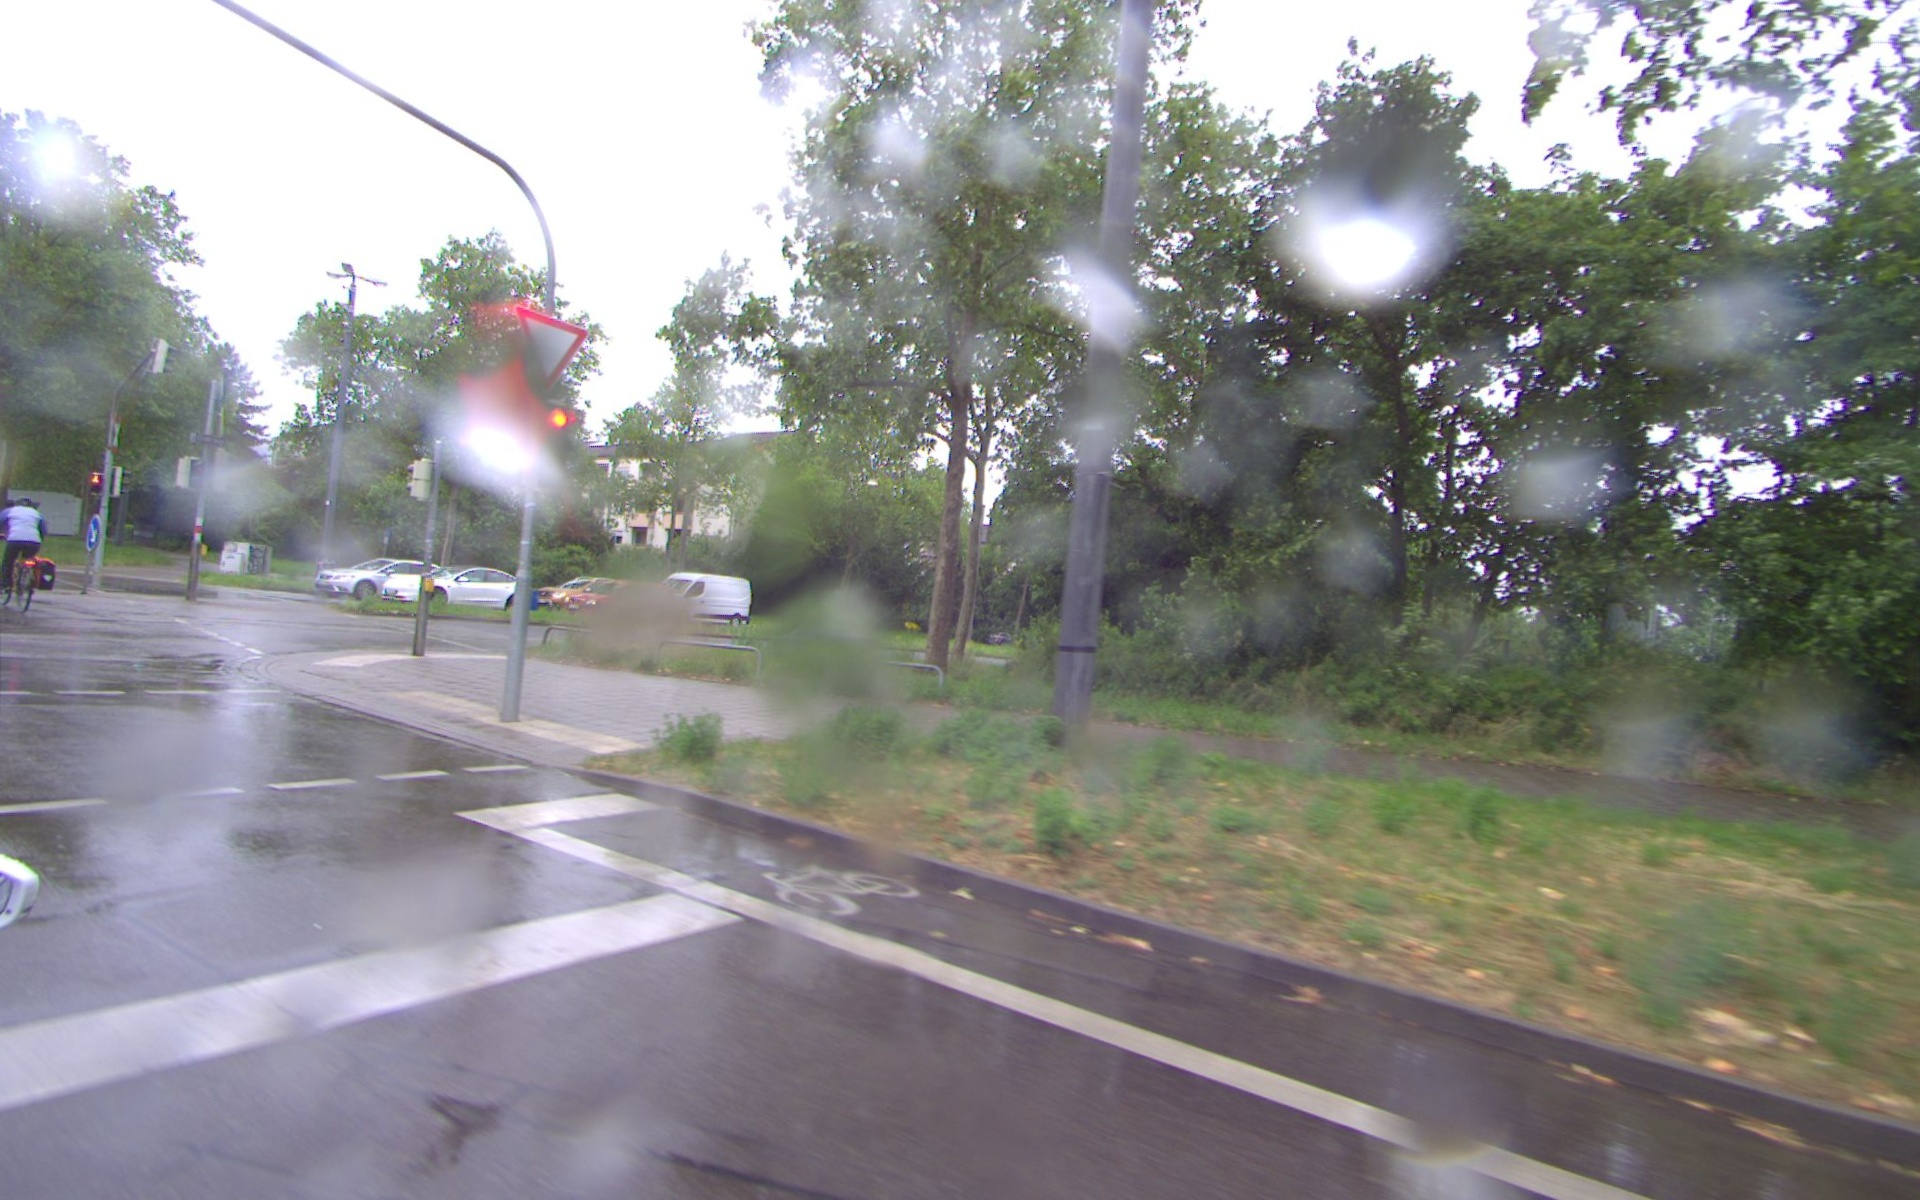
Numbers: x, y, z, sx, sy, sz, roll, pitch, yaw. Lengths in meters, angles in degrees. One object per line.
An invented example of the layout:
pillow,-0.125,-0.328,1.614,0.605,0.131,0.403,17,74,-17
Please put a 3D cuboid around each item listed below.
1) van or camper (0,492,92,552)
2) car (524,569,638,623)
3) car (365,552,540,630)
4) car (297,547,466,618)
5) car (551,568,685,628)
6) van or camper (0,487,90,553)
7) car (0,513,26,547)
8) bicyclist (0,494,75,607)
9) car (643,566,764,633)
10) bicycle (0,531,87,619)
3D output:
van or camper,-62.179,-5.338,66.020,7.389,3.214,3.231,9,-3,-37
car,-15.173,-0.116,40.497,1.759,1.625,4.070,6,-3,25
car,-15.938,-0.232,31.881,1.900,1.849,4.609,6,-3,25
car,-18.991,-0.526,33.241,1.900,1.710,4.408,6,-3,25
car,-12.670,-0.039,37.561,1.760,1.625,4.616,6,-3,29
van or camper,-56.084,-4.914,59.016,7.297,3.214,3.226,9,-3,-41
car,-54.889,-4.168,55.656,4.424,1.736,1.980,9,-3,-38
bicyclist,-13.608,-0.720,14.662,0.830,1.523,0.692,5,-2,29
car,-11.799,0.057,46.806,1.965,2.419,5.620,6,-3,28
bicycle,-13.642,-0.392,14.659,1.853,1.130,0.692,5,-2,29
